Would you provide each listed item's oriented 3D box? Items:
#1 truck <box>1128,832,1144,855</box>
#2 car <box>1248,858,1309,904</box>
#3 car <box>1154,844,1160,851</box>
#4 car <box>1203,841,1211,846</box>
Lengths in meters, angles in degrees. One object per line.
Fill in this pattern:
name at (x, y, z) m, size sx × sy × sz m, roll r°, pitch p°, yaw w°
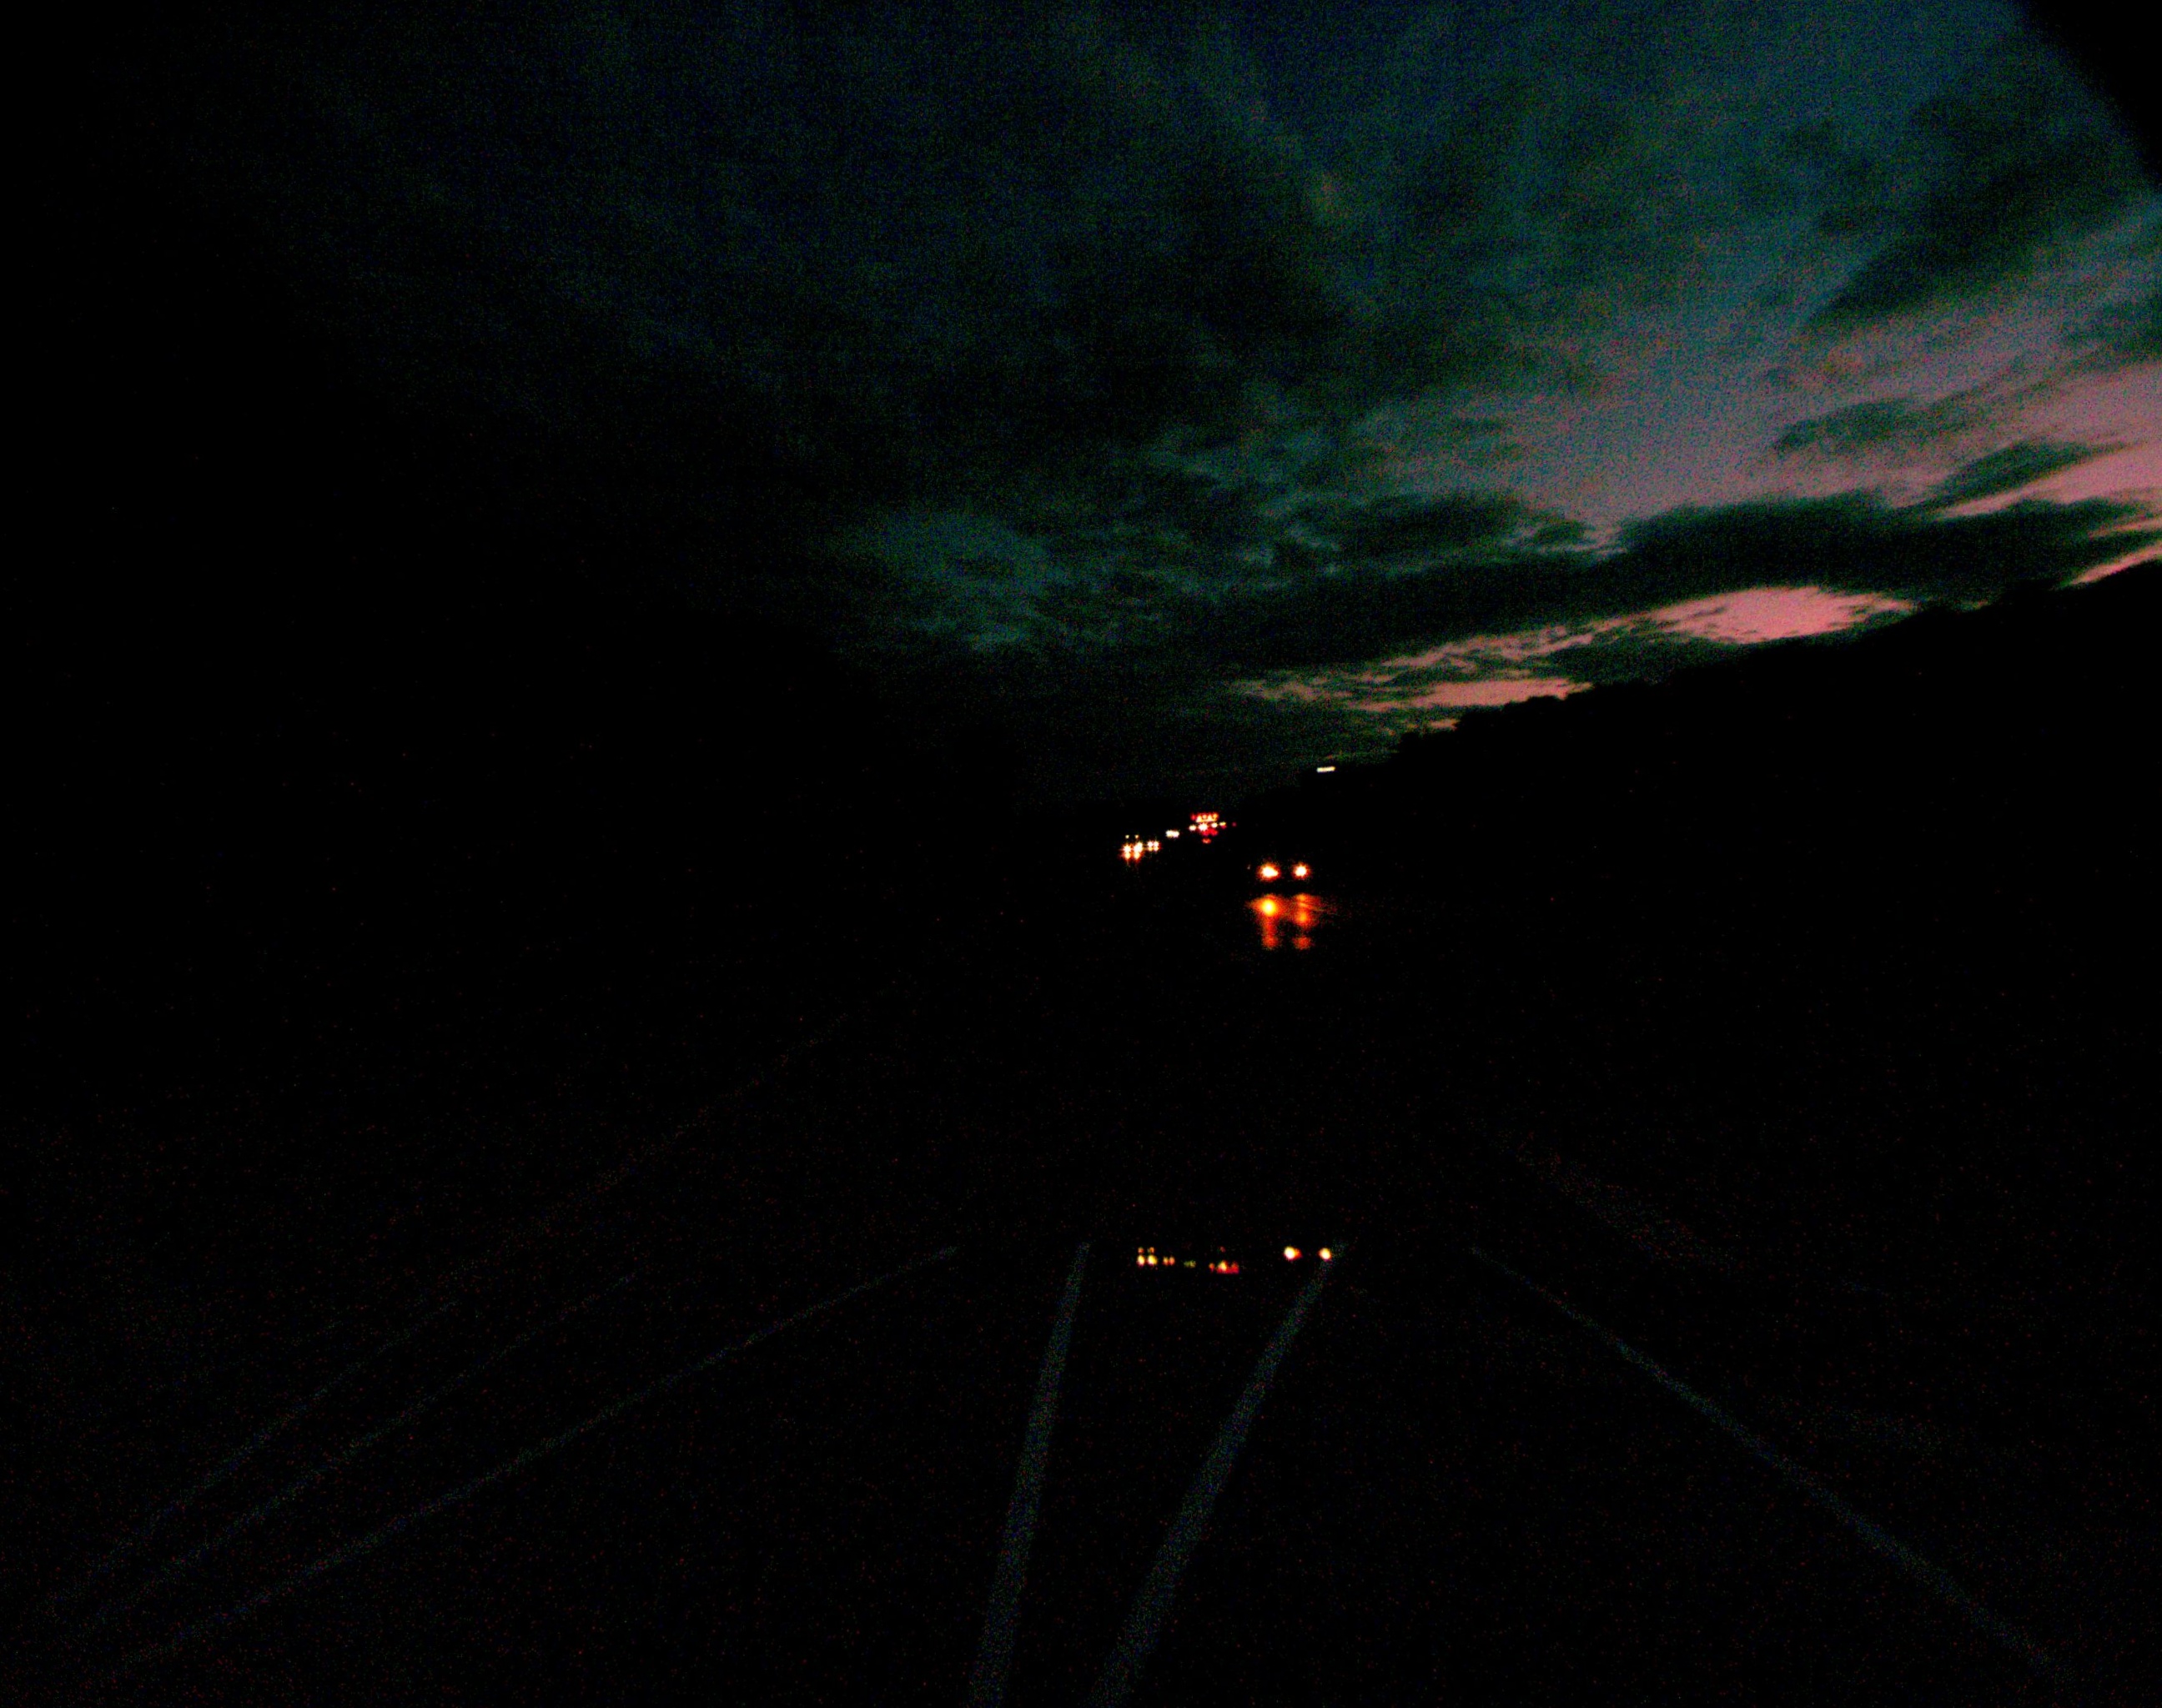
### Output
truck at (11.556, -2.254, 158.773) m, size 3.025 × 4.374 × 11.614 m, roll -2°, pitch 3°, yaw 5°
car at (7.876, 1.035, 30.591) m, size 1.716 × 1.472 × 4.000 m, roll -2°, pitch 3°, yaw 5°
car at (20.769, -1.684, 207.509) m, size 1.652 × 1.655 × 3.774 m, roll -2°, pitch 3°, yaw 4°
car at (38.967, -3.312, 234.461) m, size 1.998 × 1.411 × 4.152 m, roll -2°, pitch 1°, yaw 4°
